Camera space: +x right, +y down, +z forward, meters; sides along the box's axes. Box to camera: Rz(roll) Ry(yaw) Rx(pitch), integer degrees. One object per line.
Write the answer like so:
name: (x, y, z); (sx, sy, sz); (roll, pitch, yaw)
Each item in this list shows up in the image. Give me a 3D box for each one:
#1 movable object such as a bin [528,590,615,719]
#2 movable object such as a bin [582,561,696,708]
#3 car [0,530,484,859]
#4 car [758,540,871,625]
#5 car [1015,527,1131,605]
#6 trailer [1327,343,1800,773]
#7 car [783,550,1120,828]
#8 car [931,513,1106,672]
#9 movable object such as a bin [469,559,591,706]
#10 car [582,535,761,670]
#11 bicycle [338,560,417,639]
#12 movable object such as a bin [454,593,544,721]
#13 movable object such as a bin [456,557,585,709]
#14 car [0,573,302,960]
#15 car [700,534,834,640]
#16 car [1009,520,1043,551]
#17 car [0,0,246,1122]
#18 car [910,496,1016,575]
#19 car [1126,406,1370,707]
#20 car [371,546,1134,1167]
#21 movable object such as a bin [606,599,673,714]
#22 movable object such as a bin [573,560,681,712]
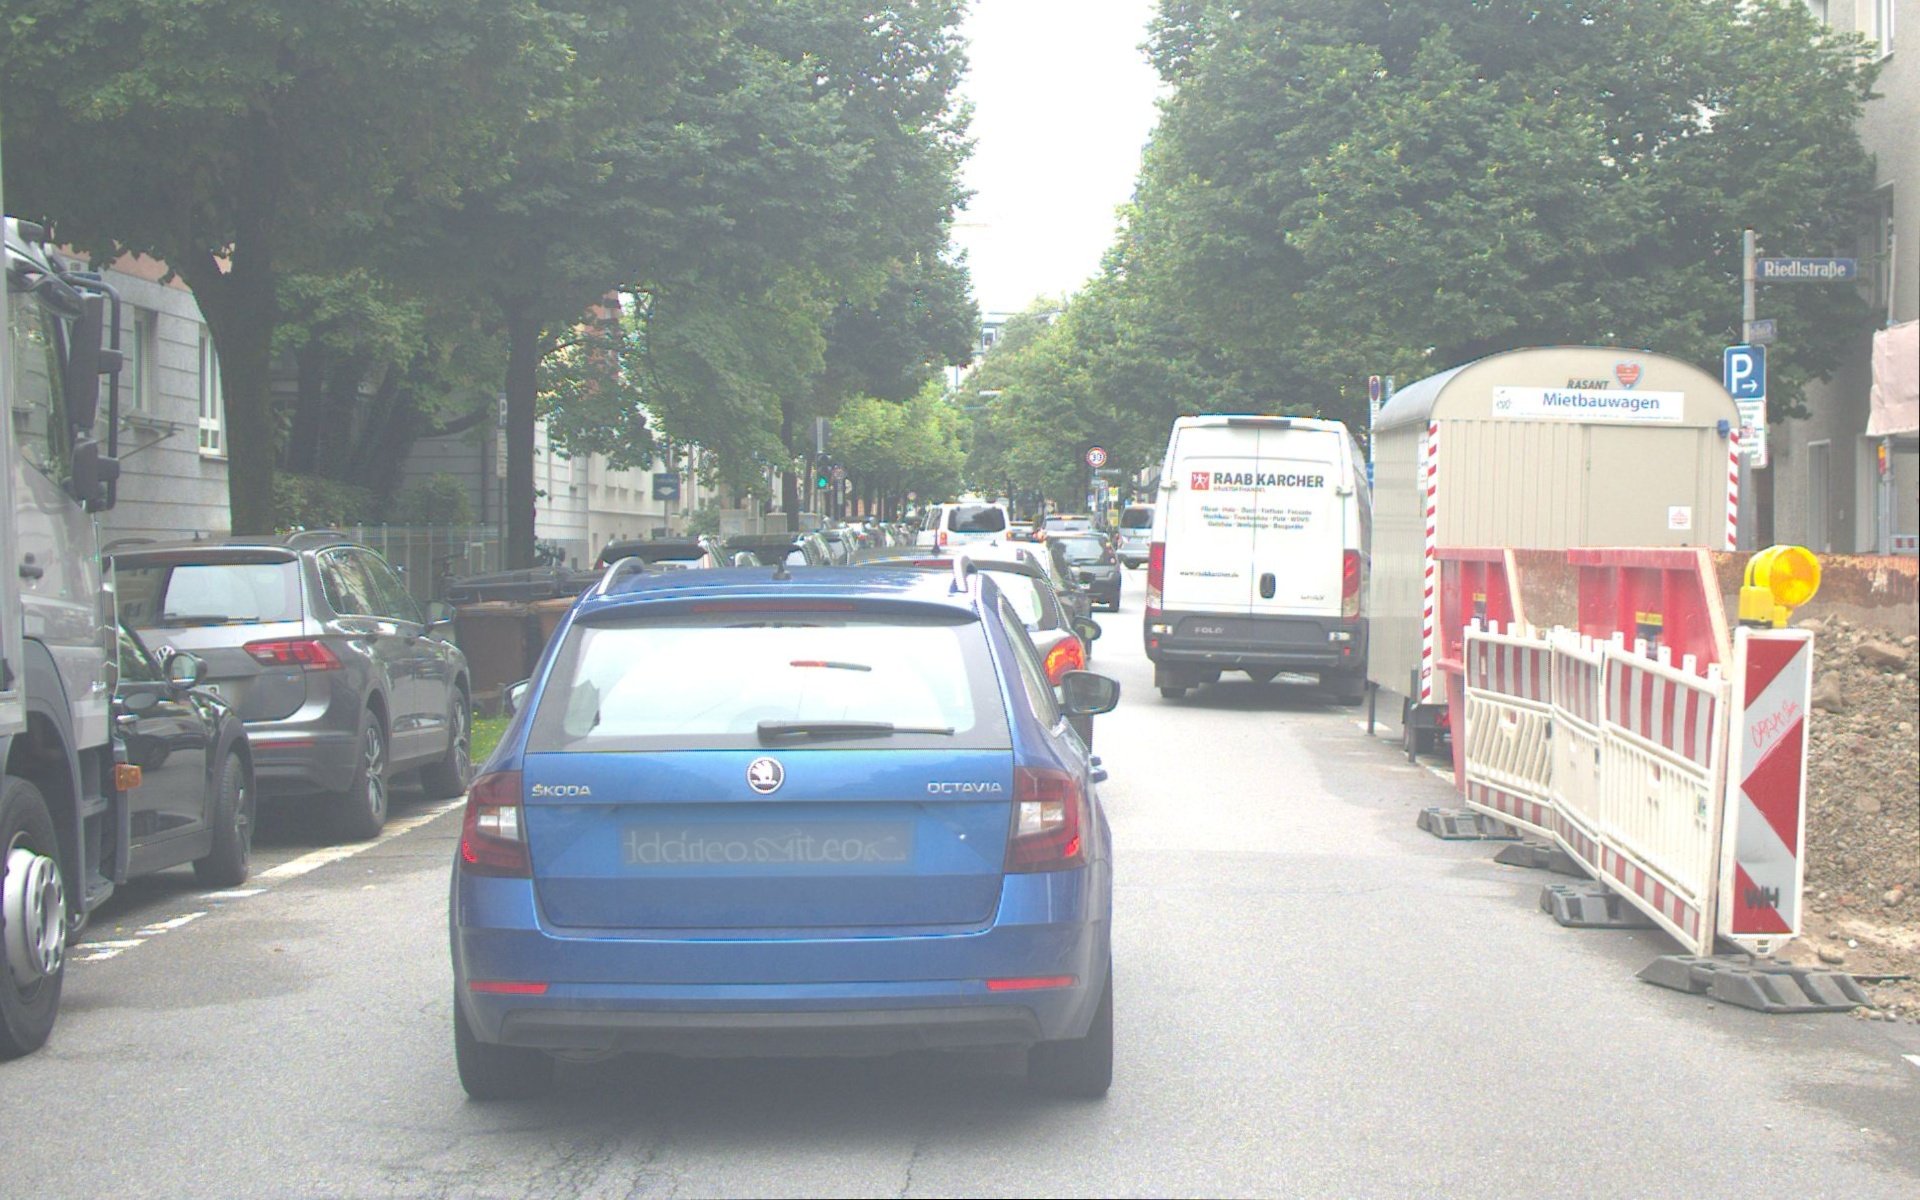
movable object such as a bin: (-3.577, 0.495, 31.711); (0.711, 1.144, 0.636); (-2, 1, -2)
movable object such as a bin: (-3.141, 0.325, 33.713); (1.020, 1.372, 1.104); (-2, 1, -3)
car: (-3.934, 0.436, 19.317); (1.785, 1.622, 4.185); (-1, 1, 2)
car: (-2.638, -0.339, 63.199); (1.812, 1.473, 4.000); (1, 1, 1)
car: (2.066, -0.664, 63.986); (1.867, 1.343, 4.348); (1, 1, -1)
trailer: (4.418, -0.317, 26.529); (2.502, 2.830, 6.901); (1, 1, 1)
car: (0.020, 0.441, 19.878); (1.741, 1.417, 3.664); (1, 1, 2)
car: (0.657, -0.138, 39.603); (1.867, 1.690, 4.347); (1, 1, 1)
movable object such as a bin: (-4.198, 0.303, 33.655); (1.057, 1.372, 1.096); (-2, 1, -3)
car: (-3.343, -0.006, 40.437); (1.812, 1.473, 4.000); (1, 1, -1)
bicycle: (-8.273, -0.022, 48.908); (0.635, 1.063, 2.387); (-1, 1, 2)
movable object such as a bin: (-4.245, 0.519, 31.672); (0.721, 1.134, 0.658); (-2, 1, -2)
movable object such as a bin: (-4.147, 0.299, 32.553); (1.081, 1.372, 1.084); (-2, 1, -3)
car: (-4.073, 0.603, 14.512); (1.699, 1.404, 3.708); (0, 1, 3)
car: (-2.828, -0.224, 51.159); (1.812, 1.473, 4.000); (1, 1, -1)
car: (3.691, -3.620, 193.080); (1.867, 1.734, 4.347); (-1, 1, 1)
car: (-3.970, -0.497, 7.631); (2.812, 3.804, 8.723); (0, 1, 1)
car: (0.045, -1.607, 84.875); (1.867, 1.863, 4.349); (1, 1, -9)
car: (2.912, -0.414, 33.661); (2.113, 2.654, 5.498); (1, 1, 7)
car: (-0.506, 0.574, 10.267); (1.789, 1.455, 4.315); (0, 1, 0)
movable object such as a bin: (-2.958, 0.515, 31.759); (0.546, 1.017, 0.636); (-2, 1, -2)
movable object such as a bin: (-3.149, 0.330, 32.615); (0.918, 1.372, 1.080); (-2, 1, -3)
